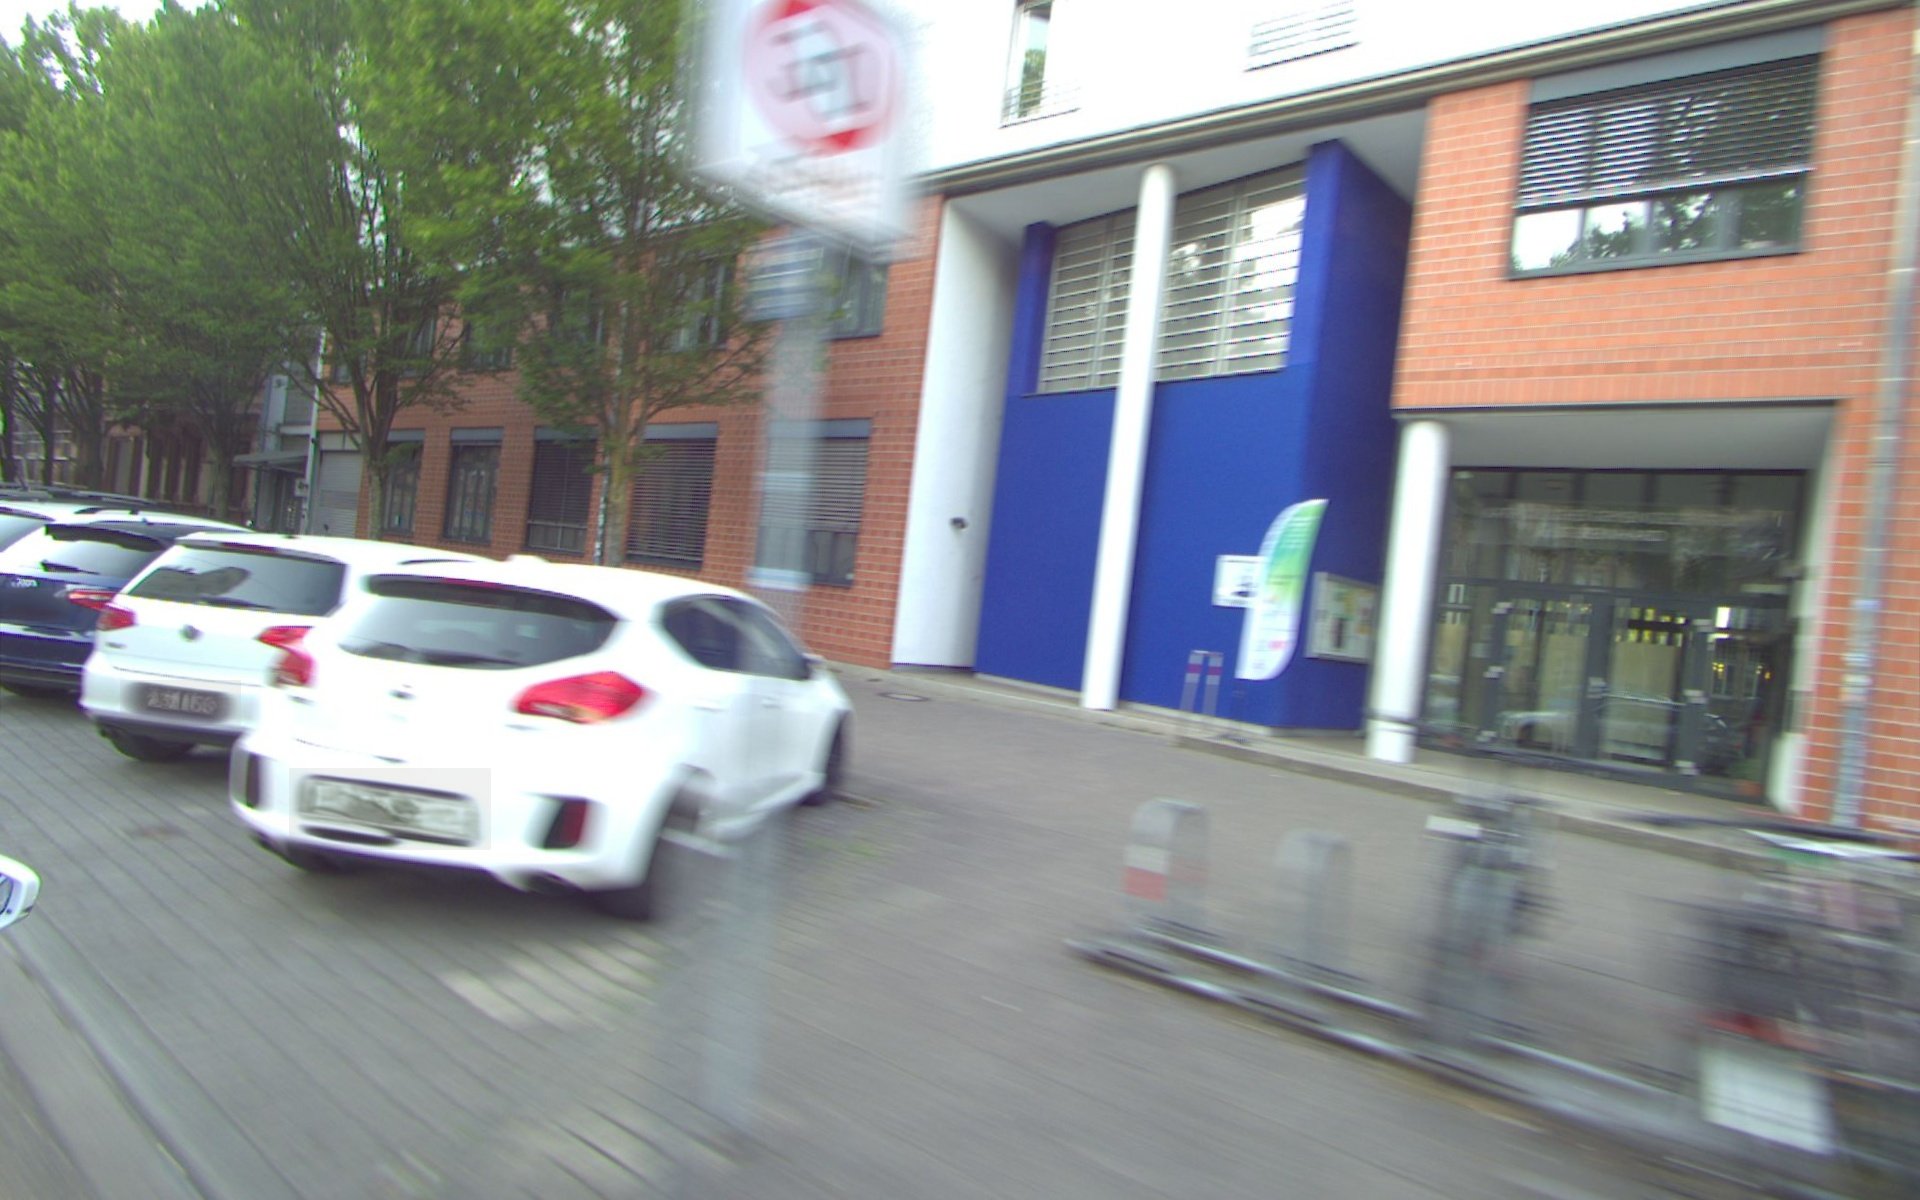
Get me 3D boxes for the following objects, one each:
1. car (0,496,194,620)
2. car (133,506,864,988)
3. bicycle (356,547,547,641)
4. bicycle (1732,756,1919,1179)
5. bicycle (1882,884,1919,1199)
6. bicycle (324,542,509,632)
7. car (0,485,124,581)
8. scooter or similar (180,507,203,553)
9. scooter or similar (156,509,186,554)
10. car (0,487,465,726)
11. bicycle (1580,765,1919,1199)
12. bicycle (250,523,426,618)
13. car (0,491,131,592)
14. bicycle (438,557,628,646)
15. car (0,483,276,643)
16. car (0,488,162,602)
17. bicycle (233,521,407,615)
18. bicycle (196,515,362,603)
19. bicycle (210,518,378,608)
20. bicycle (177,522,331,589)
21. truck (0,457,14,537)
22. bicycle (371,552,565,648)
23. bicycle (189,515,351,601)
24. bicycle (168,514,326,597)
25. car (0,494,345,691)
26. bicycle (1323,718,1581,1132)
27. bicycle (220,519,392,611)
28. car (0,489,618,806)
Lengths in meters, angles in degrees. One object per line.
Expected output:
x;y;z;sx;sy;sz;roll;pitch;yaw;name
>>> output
-12.576;-0.604;13.312;1.689;1.500;3.608;7;-1;9;car
-1.914;0.571;5.651;1.736;1.525;4.002;7;-1;8;car
-7.780;-0.054;15.544;0.554;1.180;2.533;7;-1;39;bicycle
3.385;1.242;3.825;0.516;1.079;1.857;7;1;35;bicycle
2.507;1.147;2.149;0.438;1.079;1.857;7;1;35;bicycle
-8.738;-0.173;16.298;0.554;1.180;2.533;7;-1;39;bicycle
-18.436;-1.376;18.755;1.725;1.657;4.000;7;0;17;car
-21.800;-2.002;28.531;0.409;1.235;1.754;-1;5;-41;scooter or similar
-22.917;-1.992;29.230;0.366;1.234;1.691;3;2;-29;scooter or similar
-6.404;0.052;8.859;1.677;1.541;4.002;6;-1;6;car
1.984;1.088;2.670;0.438;1.079;1.857;7;1;35;bicycle
-11.097;-0.489;18.056;0.590;1.396;2.533;7;0;39;bicycle
-16.572;-1.115;16.461;1.773;1.553;4.389;7;-1;13;car
-5.887;0.054;14.013;0.670;1.114;2.342;7;3;39;bicycle
-10.287;-0.429;11.851;1.684;1.599;3.607;7;-1;4;car
-14.344;-0.890;15.029;1.533;1.553;3.608;7;-1;9;car
-11.671;-0.553;18.458;0.590;1.396;2.533;7;0;39;bicycle
-13.278;-0.767;19.713;0.590;1.396;2.533;7;0;39;bicycle
-12.713;-0.671;19.312;0.590;1.396;2.533;7;0;39;bicycle
-14.434;-0.884;20.648;0.590;1.262;2.527;7;5;39;bicycle
-39.313;-4.283;36.872;2.231;3.009;6.321;3;-4;38;truck
-7.317;0.039;15.126;0.554;1.180;2.533;7;-1;39;bicycle
-13.785;-0.814;20.192;0.590;1.396;2.533;7;0;39;bicycle
-14.853;-0.890;21.051;0.590;1.396;2.533;7;0;39;bicycle
-8.211;-0.105;9.744;1.605;1.555;4.002;7;-1;6;car
1.998;1.079;3.924;0.516;1.079;1.910;7;1;35;bicycle
-12.160;-0.612;18.811;0.590;1.396;2.533;7;0;39;bicycle
-4.239;0.278;7.268;1.840;1.491;4.002;6;-1;4;car
